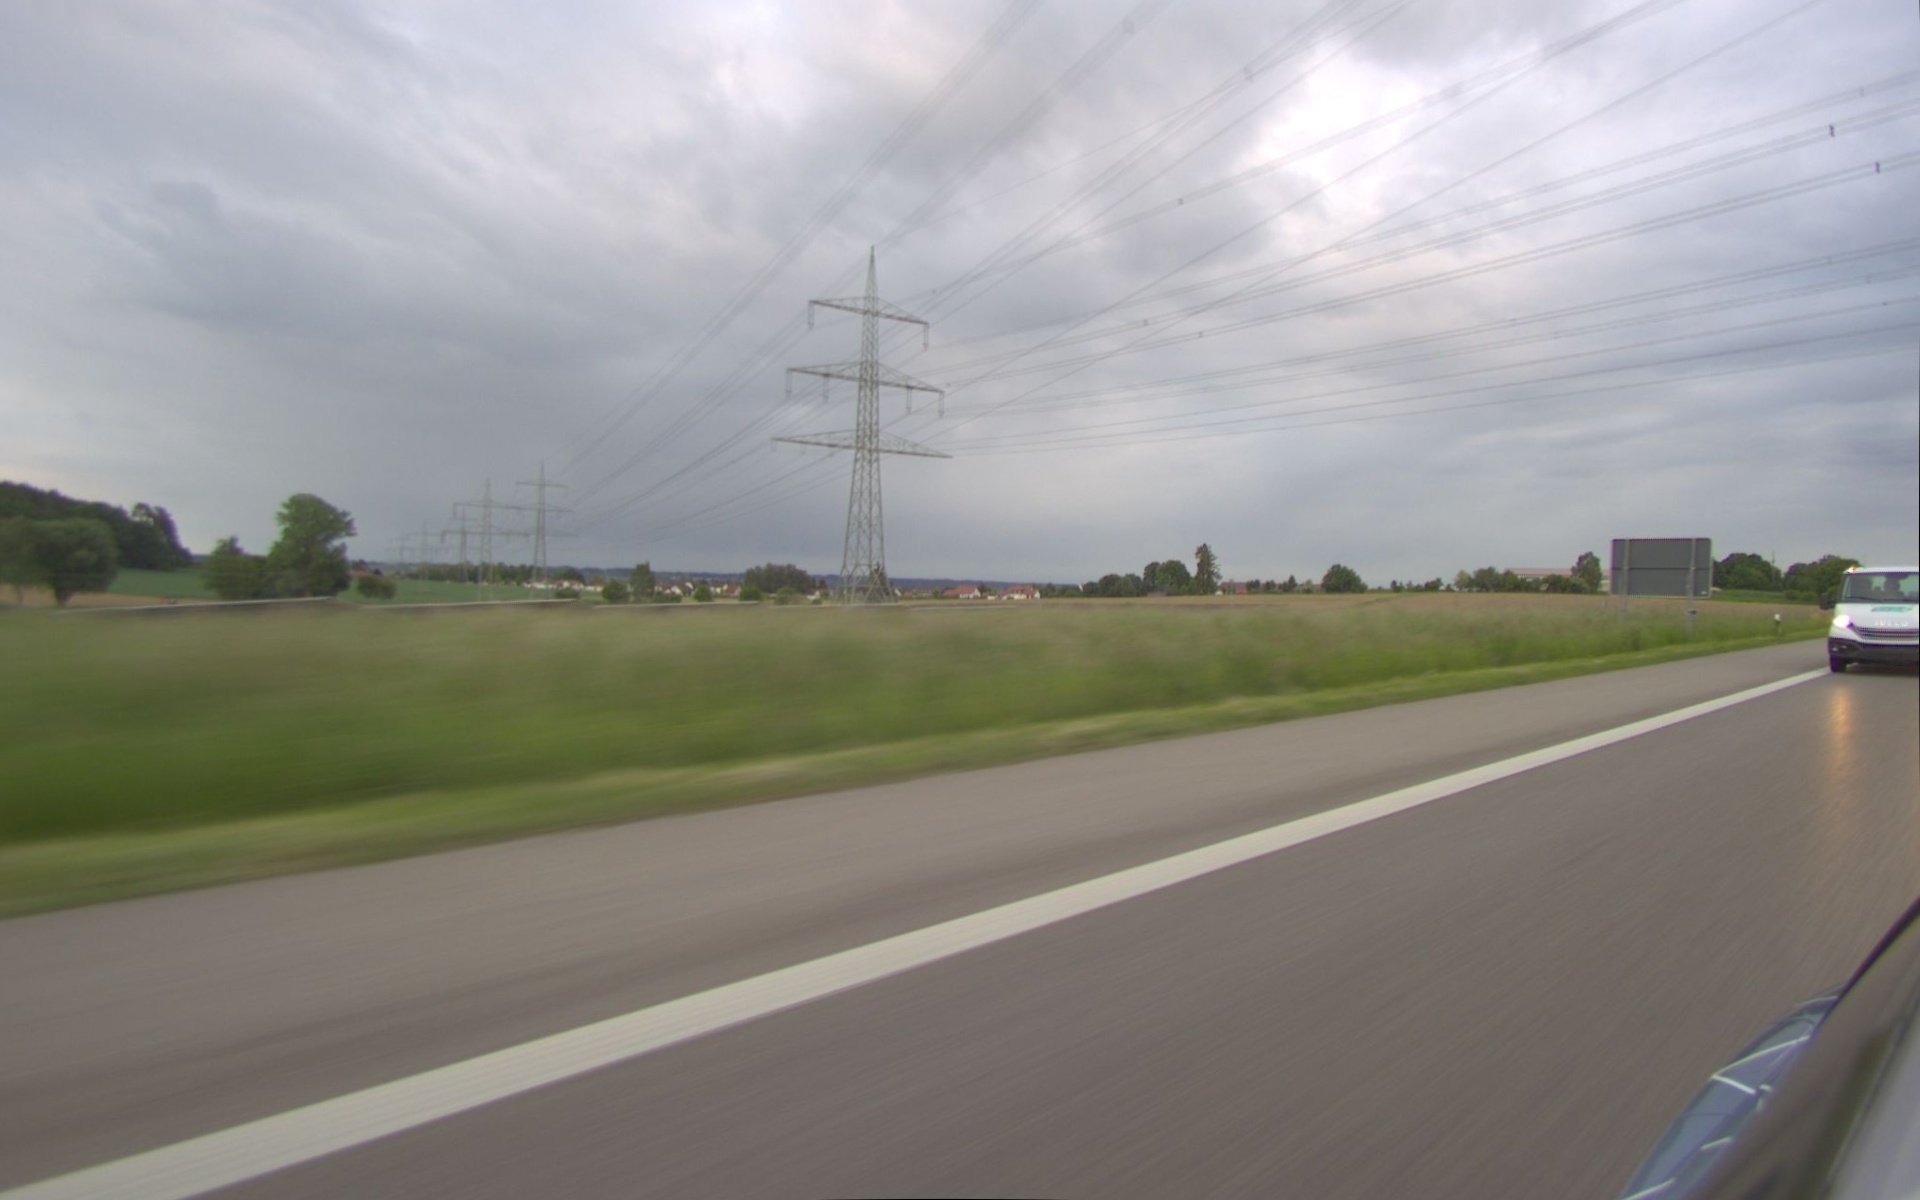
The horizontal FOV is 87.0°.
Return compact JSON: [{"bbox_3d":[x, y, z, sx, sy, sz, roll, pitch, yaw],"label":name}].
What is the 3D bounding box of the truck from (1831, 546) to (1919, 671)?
[{"bbox_3d":[20.970,0.174,22.087,7.566,2.390,2.174,0,-1,-43],"label":"truck"}]
